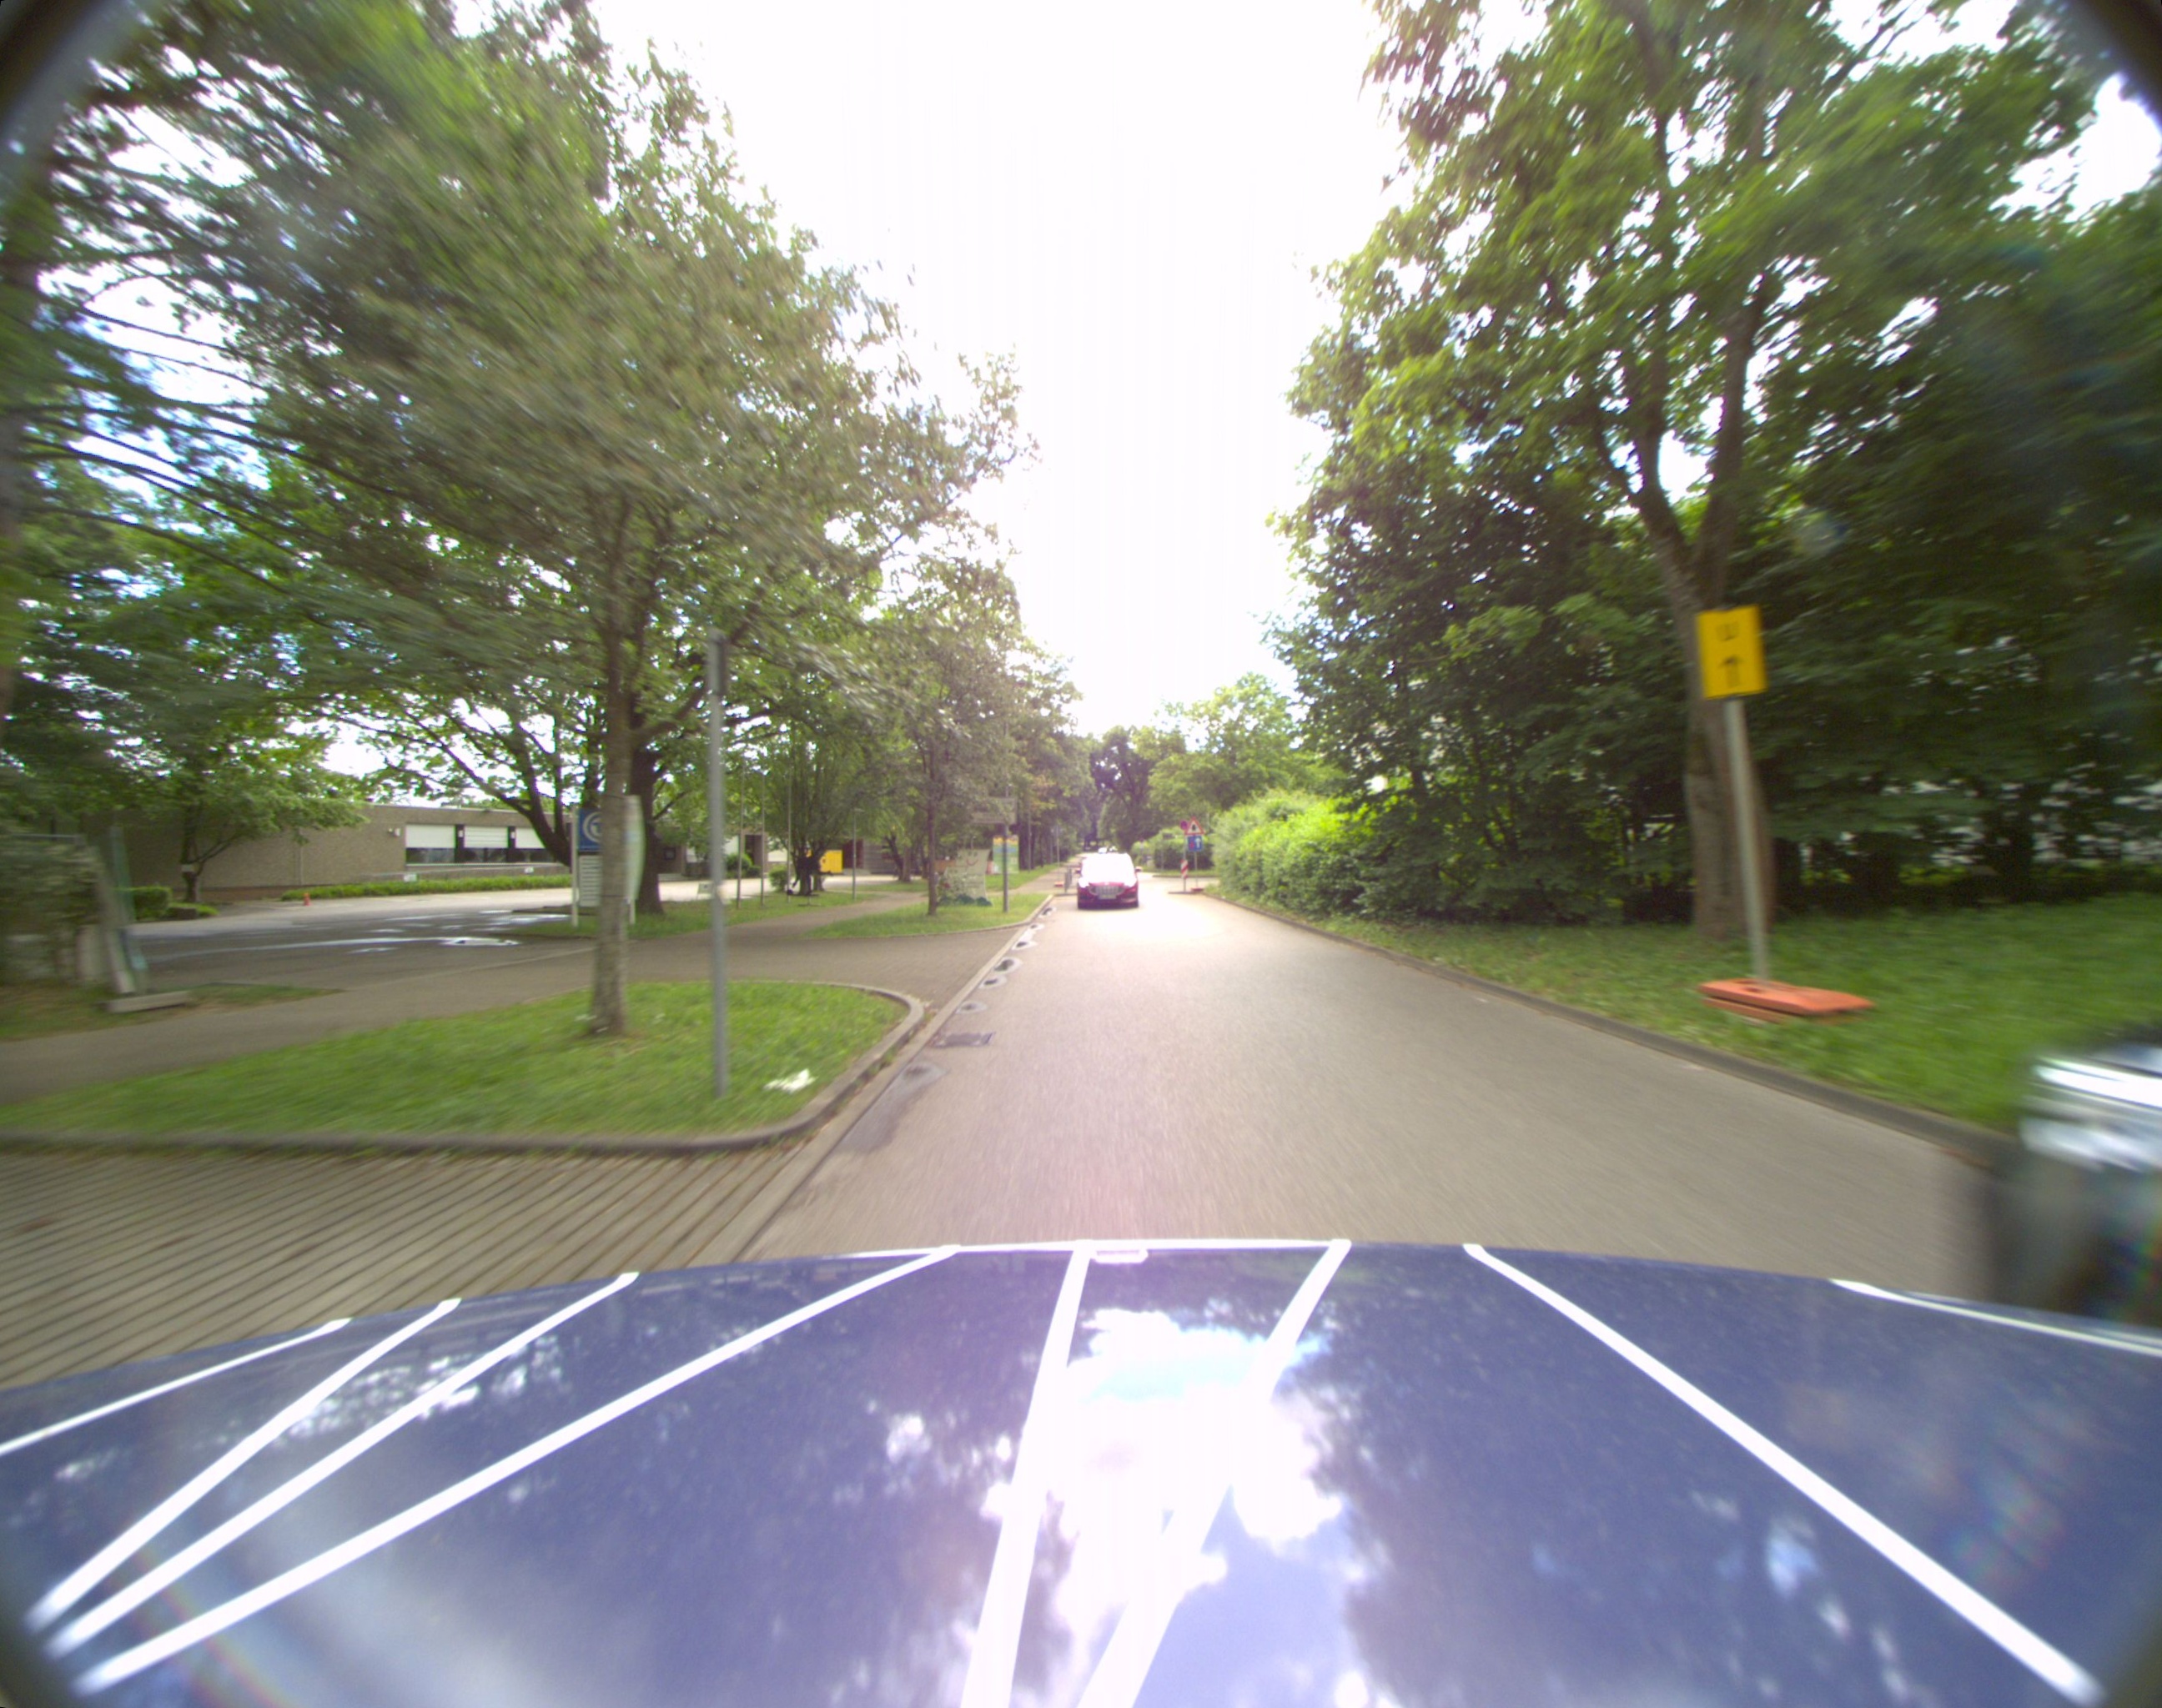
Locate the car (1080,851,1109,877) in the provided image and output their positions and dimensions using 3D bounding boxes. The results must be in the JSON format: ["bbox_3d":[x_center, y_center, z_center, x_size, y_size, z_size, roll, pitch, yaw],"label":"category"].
[{"bbox_3d":[0.939,0.690,54.649,1.918,1.707,5.038,-1,0,1],"label":"car"}]

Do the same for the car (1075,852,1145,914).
[{"bbox_3d":[0.846,0.812,23.975,1.918,1.707,5.038,-1,0,1],"label":"car"}]
